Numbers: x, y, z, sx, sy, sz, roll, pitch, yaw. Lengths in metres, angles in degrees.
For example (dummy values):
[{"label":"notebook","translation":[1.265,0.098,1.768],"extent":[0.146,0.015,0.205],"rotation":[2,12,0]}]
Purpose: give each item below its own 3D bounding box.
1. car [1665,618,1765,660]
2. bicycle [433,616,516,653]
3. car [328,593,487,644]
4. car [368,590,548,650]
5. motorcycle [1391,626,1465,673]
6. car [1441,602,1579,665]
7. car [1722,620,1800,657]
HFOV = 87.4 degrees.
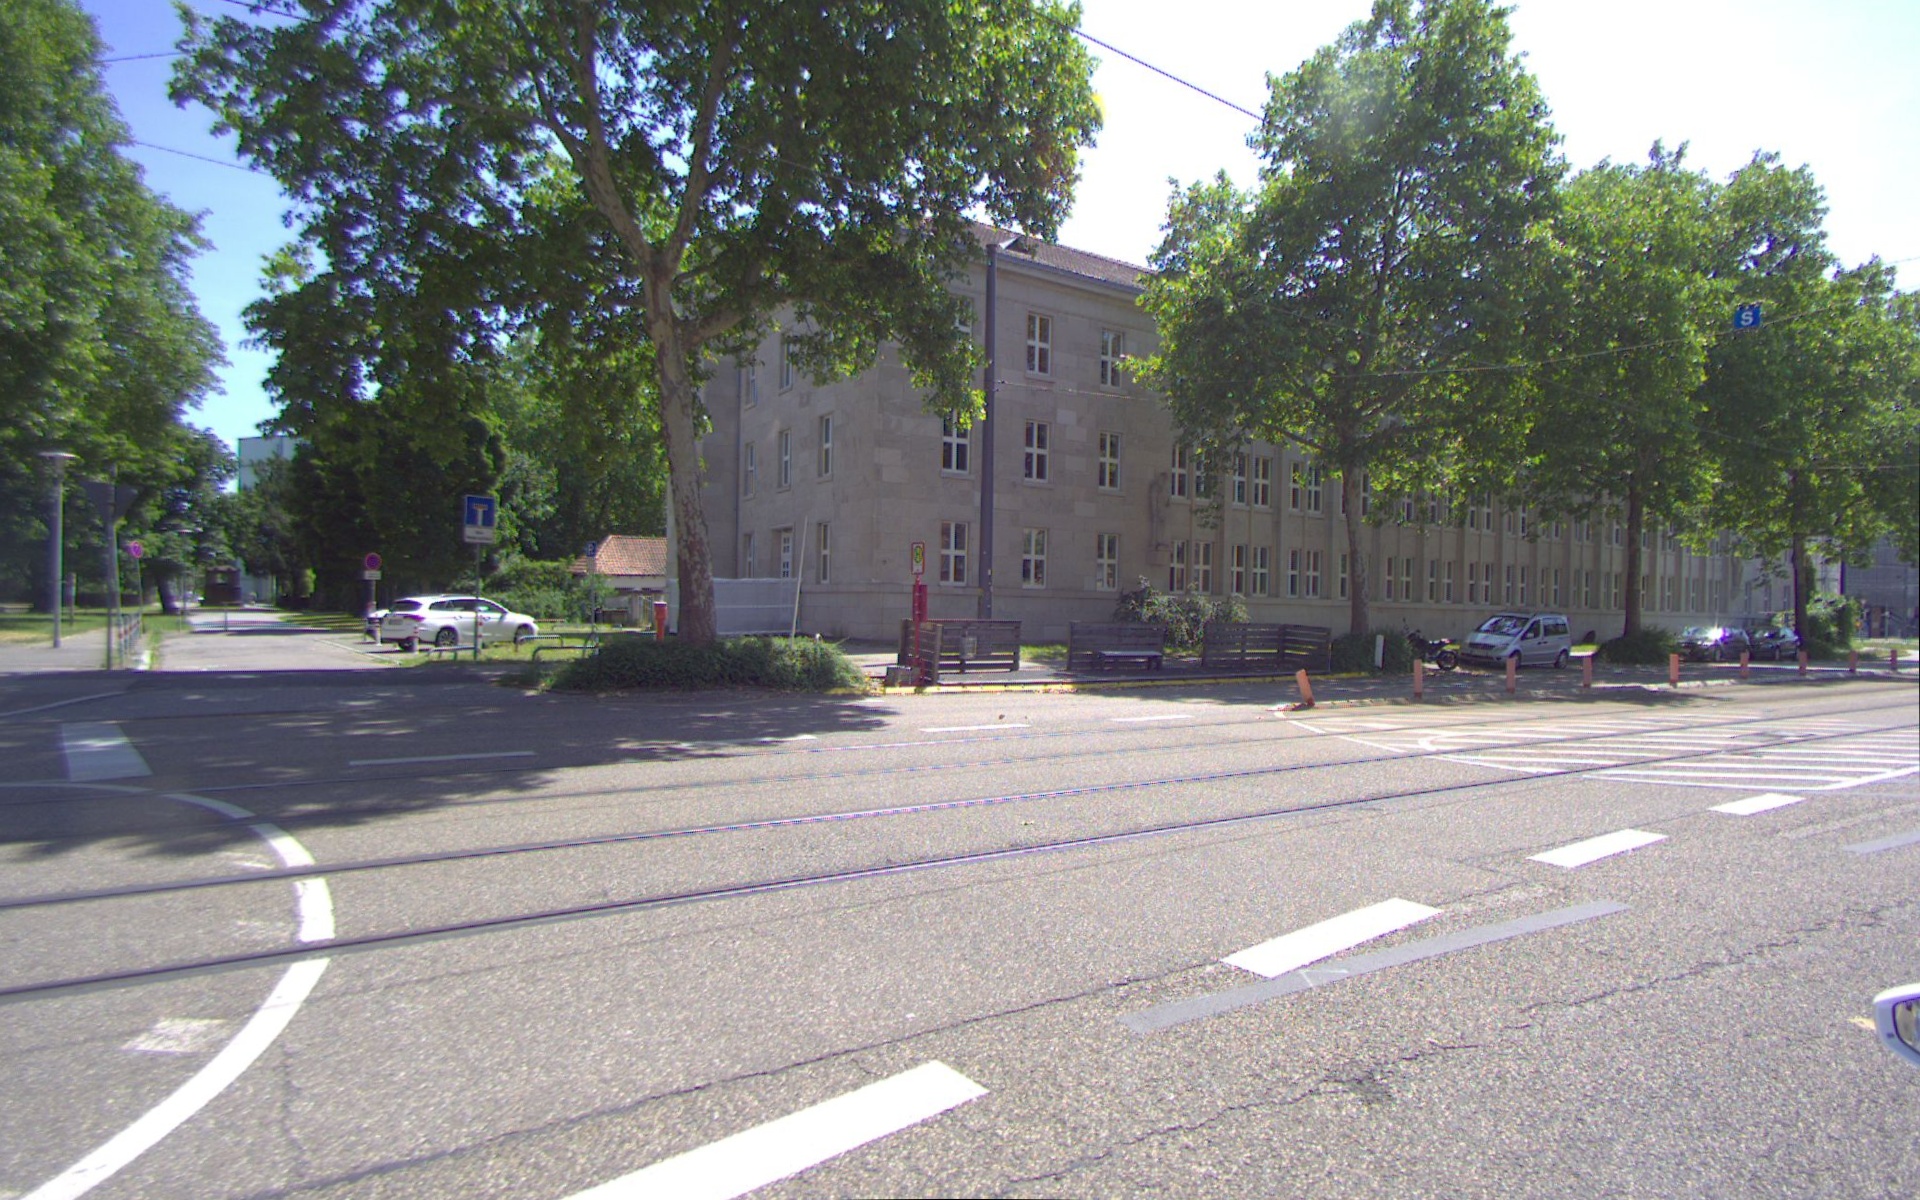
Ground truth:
[{"label":"car","translation":[30.014,1.562,39.906],"extent":[4.276,1.503,1.753],"rotation":[2,1,-33]},{"label":"bicycle","translation":[-12.980,0.910,26.904],"extent":[0.634,0.913,1.901],"rotation":[3,1,37]},{"label":"car","translation":[-18.704,0.592,34.251],"extent":[1.878,1.528,4.534],"rotation":[2,1,22]},{"label":"car","translation":[-14.420,0.537,29.164],"extent":[1.878,1.528,4.534],"rotation":[2,1,22]},{"label":"motorcycle","translation":[13.787,1.439,29.615],"extent":[1.838,1.082,0.726],"rotation":[8,3,27]},{"label":"car","translation":[17.702,1.070,32.284],"extent":[4.252,1.835,1.983],"rotation":[2,1,-31]},{"label":"car","translation":[34.295,1.630,42.975],"extent":[4.283,1.443,1.576],"rotation":[2,1,-37]}]
